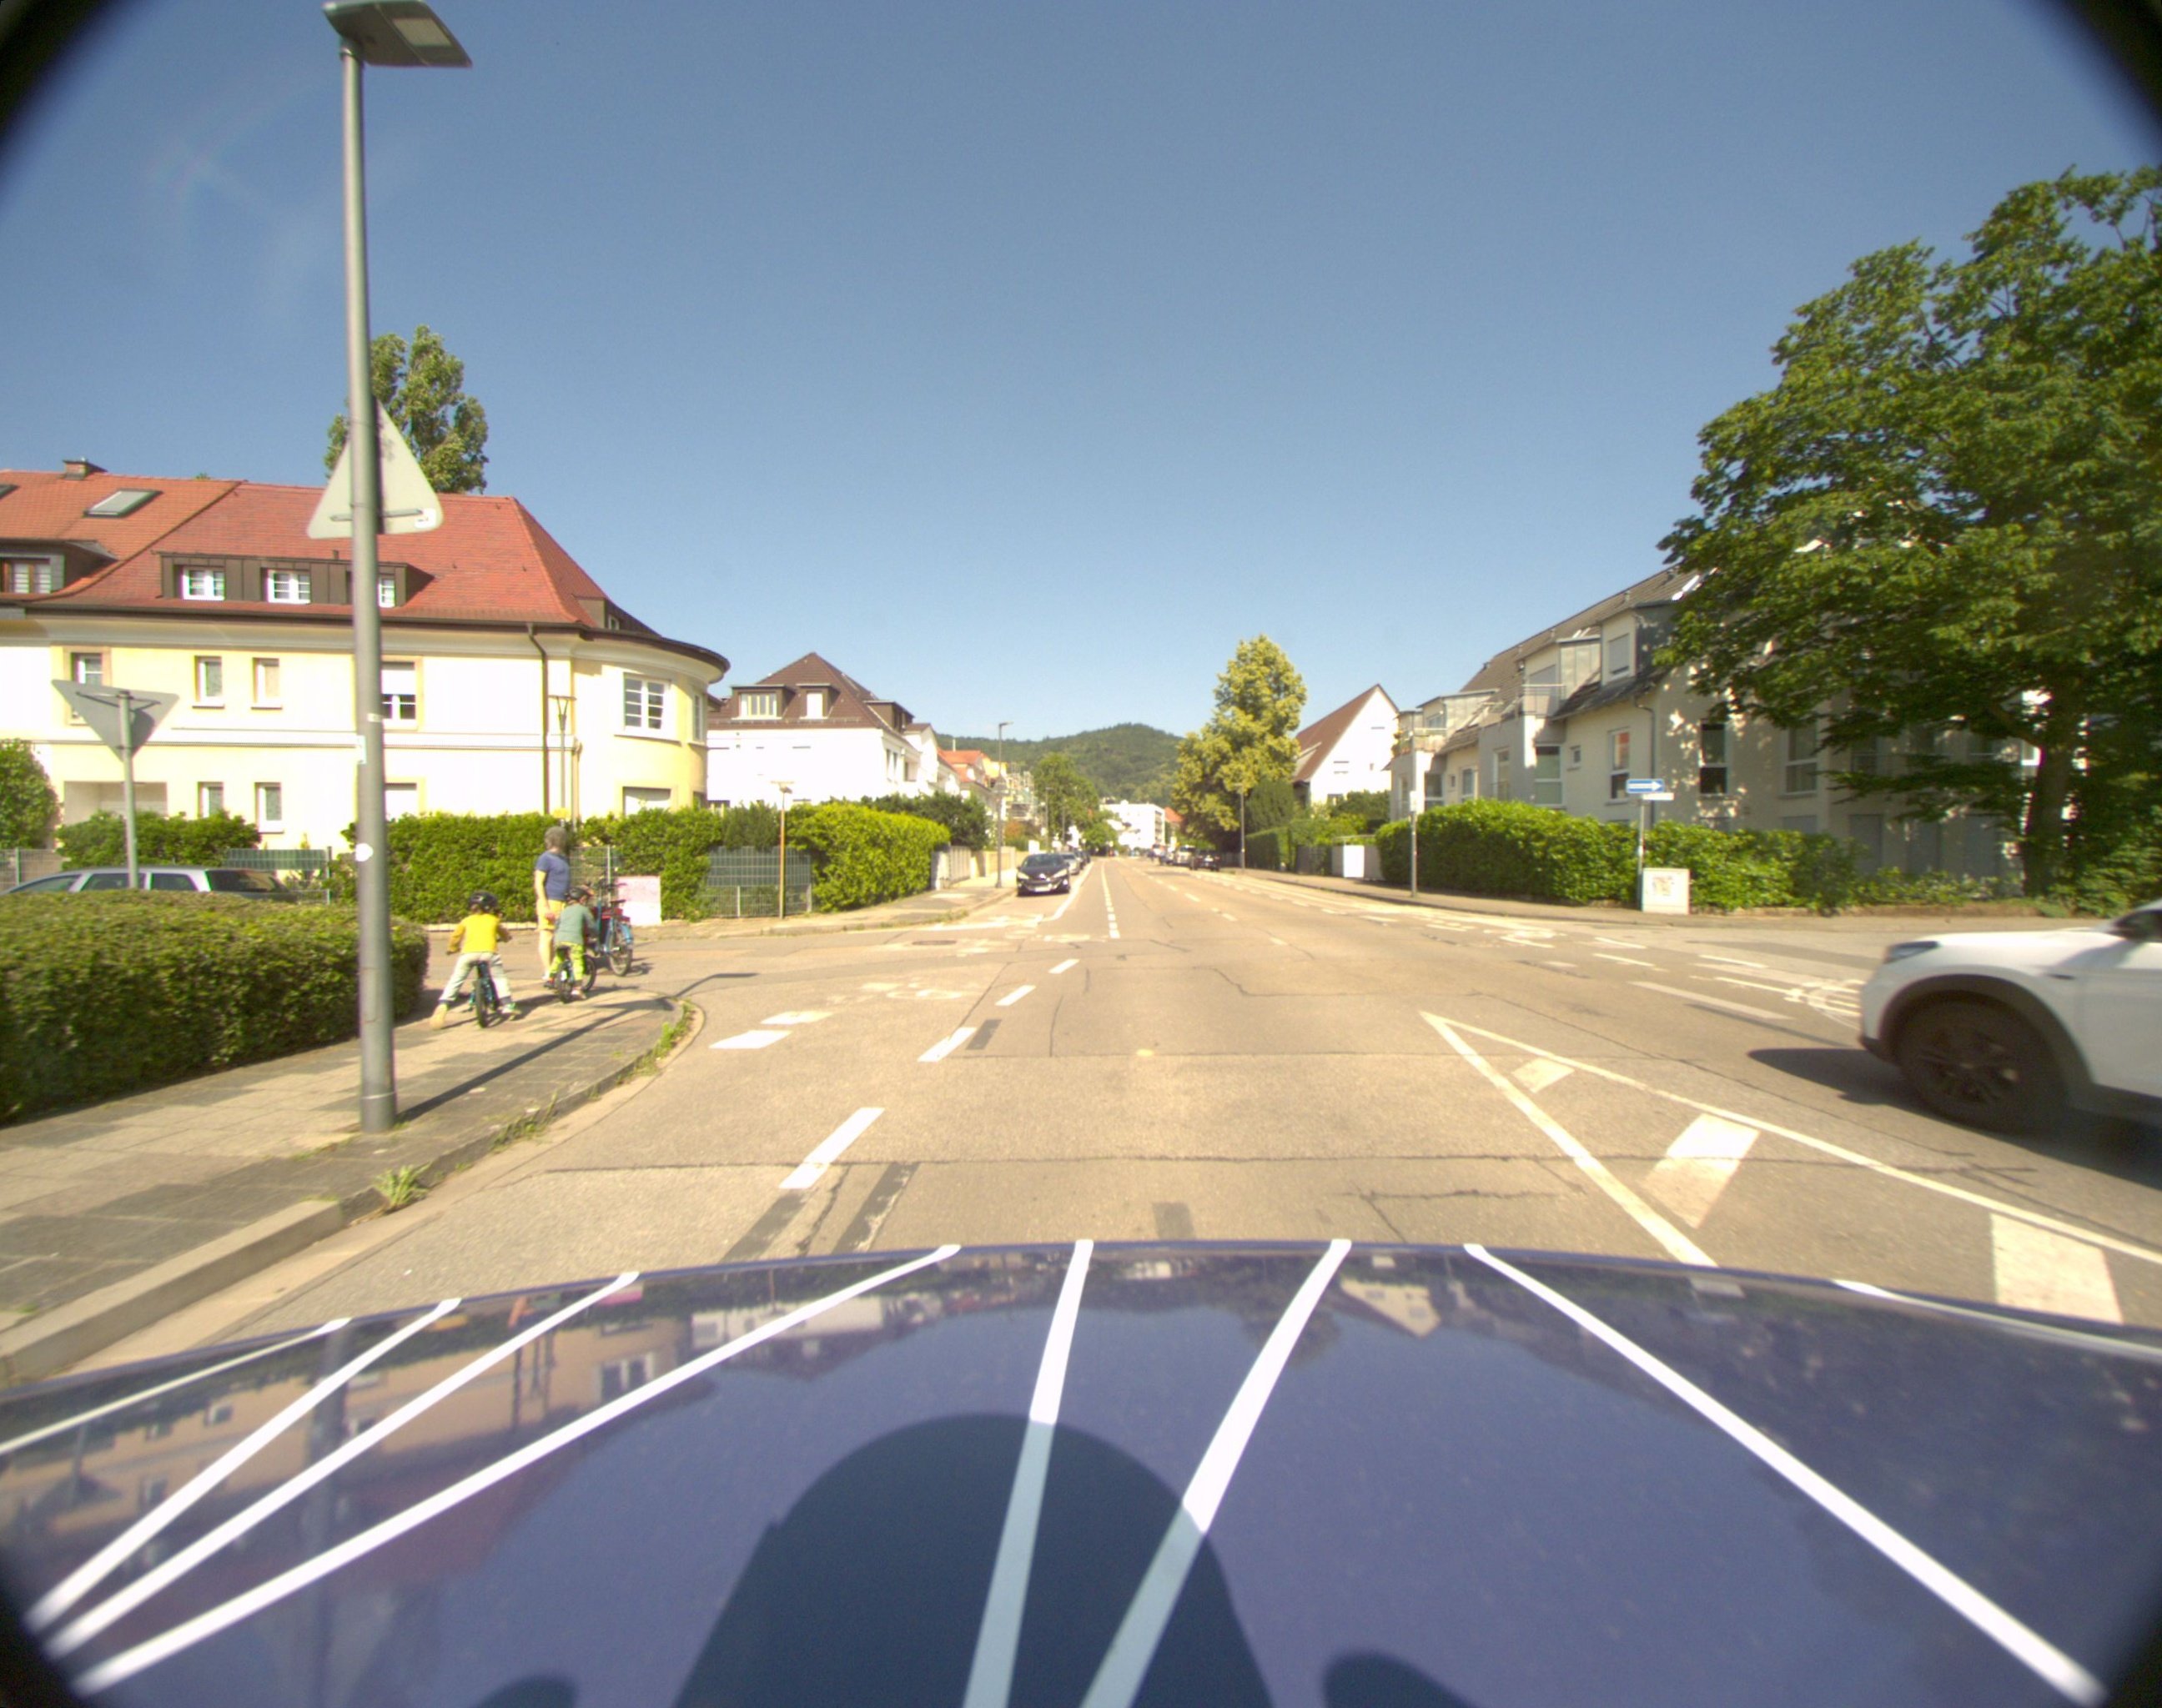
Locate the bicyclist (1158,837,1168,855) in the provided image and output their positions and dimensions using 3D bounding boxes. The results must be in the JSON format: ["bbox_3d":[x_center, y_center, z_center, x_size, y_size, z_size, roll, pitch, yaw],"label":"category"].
[{"bbox_3d":[7.618,-0.739,70.574,0.677,1.571,0.859,5,2,2],"label":"bicyclist"}]

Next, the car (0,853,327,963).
[{"bbox_3d":[-15.309,0.818,12.349,3.999,1.559,1.809,-1,2,-8],"label":"car"}]

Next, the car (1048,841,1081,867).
[{"bbox_3d":[-0.949,-0.041,45.682,1.741,1.322,4.075,-3,2,1],"label":"car"}]

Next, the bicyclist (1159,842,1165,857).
[{"bbox_3d":[7.968,-0.473,74.994,0.491,1.446,0.964,2,2,2],"label":"bicyclist"}]

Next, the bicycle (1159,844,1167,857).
[{"bbox_3d":[7.682,-0.372,70.976,0.560,1.178,2.035,1,1,2],"label":"bicycle"}]

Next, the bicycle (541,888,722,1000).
[{"bbox_3d":[-5.825,1.083,9.771,2.704,1.152,0.865,0,2,33],"label":"bicycle"}]

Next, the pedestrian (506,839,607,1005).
[{"bbox_3d":[-6.361,0.757,9.286,0.903,1.862,1.186,-2,2,-32],"label":"pedestrian"}]

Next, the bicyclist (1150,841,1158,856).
[{"bbox_3d":[8.113,-0.587,84.567,0.751,1.658,1.022,0,1,2],"label":"bicyclist"}]

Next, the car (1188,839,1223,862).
[{"bbox_3d":[9.155,-0.314,56.251,1.855,1.602,4.447,0,1,0],"label":"car"}]

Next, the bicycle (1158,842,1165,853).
[{"bbox_3d":[7.962,-0.657,75.005,0.602,1.099,1.346,2,2,2],"label":"bicycle"}]

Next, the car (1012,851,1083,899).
[{"bbox_3d":[-1.086,0.670,26.964,1.740,1.460,4.347,-3,0,7],"label":"car"}]

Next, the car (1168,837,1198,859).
[{"bbox_3d":[9.332,-0.596,69.822,1.890,1.909,4.866,2,1,-1],"label":"car"}]

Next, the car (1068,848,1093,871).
[{"bbox_3d":[-0.071,0.389,57.549,1.726,1.441,4.167,-3,2,0],"label":"car"}]

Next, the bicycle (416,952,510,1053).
[{"bbox_3d":[-5.150,1.204,6.380,0.403,0.596,1.148,-1,1,-29],"label":"bicycle"}]

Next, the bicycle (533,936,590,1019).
[{"bbox_3d":[-5.089,1.182,7.479,0.403,0.596,1.170,-1,2,-32],"label":"bicycle"}]

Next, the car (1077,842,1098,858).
[{"bbox_3d":[0.651,-0.400,74.256,1.622,1.441,4.002,0,1,7],"label":"car"}]

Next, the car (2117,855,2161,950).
[{"bbox_3d":[17.951,0.725,10.997,3.501,1.404,1.726,-1,2,0],"label":"car"}]

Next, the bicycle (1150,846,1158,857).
[{"bbox_3d":[8.134,-0.329,84.685,0.784,1.159,2.419,2,2,2],"label":"bicycle"}]

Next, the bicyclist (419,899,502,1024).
[{"bbox_3d":[-5.161,0.866,6.347,0.400,0.928,0.607,-2,2,-29],"label":"bicyclist"}]

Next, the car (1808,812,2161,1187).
[{"bbox_3d":[5.740,0.673,2.732,1.919,1.657,4.505,1,2,1],"label":"car"}]

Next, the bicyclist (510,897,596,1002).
[{"bbox_3d":[-5.132,0.909,7.415,0.402,0.924,0.657,-1,2,-8],"label":"bicyclist"}]

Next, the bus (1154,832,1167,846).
[{"bbox_3d":[18.409,-3.497,175.842,2.751,3.156,9.780,2,1,5],"label":"bus"}]

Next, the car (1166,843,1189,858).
[{"bbox_3d":[10.054,-0.389,79.517,1.838,1.477,4.562,3,1,2],"label":"car"}]
